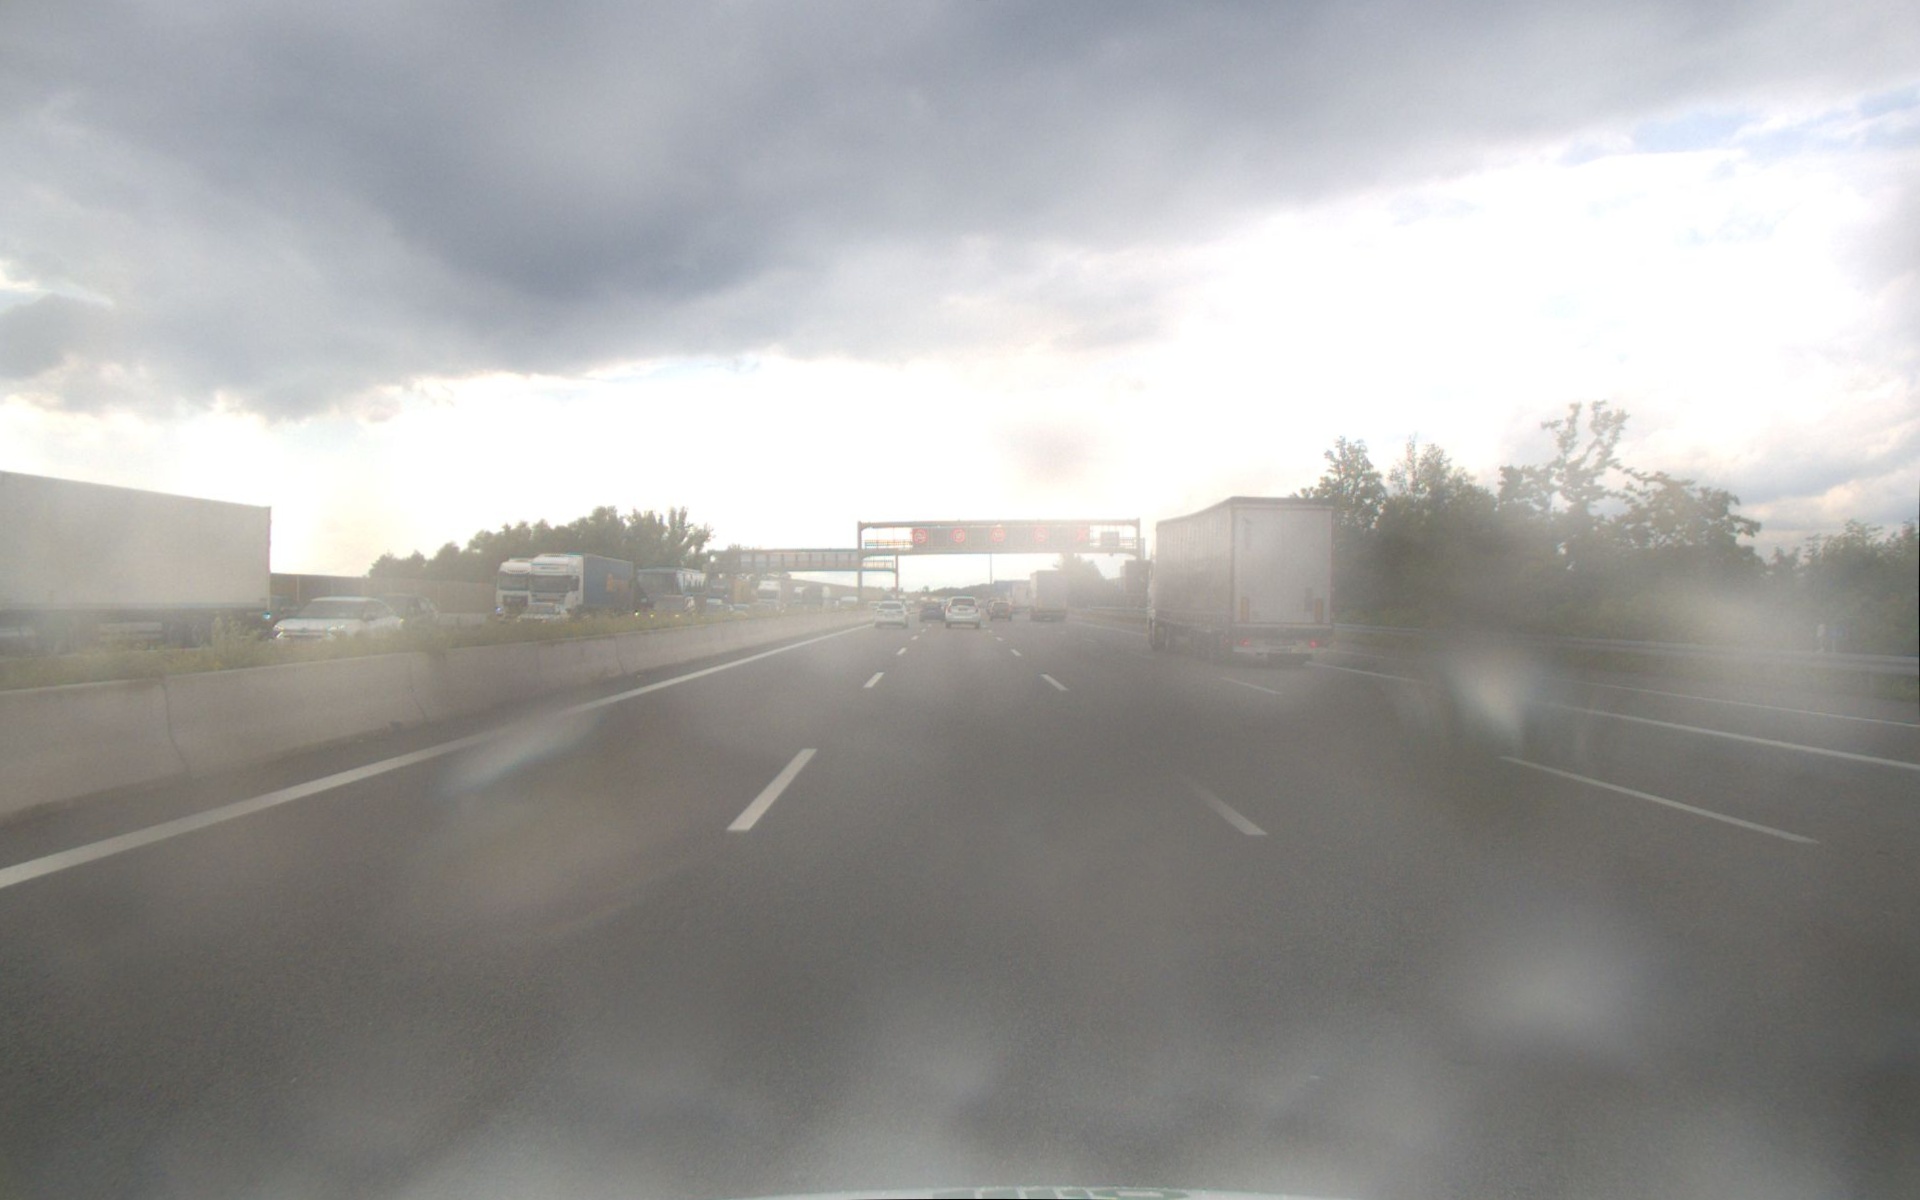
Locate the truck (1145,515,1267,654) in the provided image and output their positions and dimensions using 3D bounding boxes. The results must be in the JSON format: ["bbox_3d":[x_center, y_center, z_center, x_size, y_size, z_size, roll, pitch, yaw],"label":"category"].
[{"bbox_3d":[7.678,-0.476,52.375,2.900,4.090,6.589,1,0,0],"label":"truck"}]

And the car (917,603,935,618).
[{"bbox_3d":[-3.441,1.097,167.157,1.737,1.466,4.053,1,0,-2],"label":"car"}]

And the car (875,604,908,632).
[{"bbox_3d":[-3.697,0.951,89.991,1.736,1.466,3.873,1,0,-1],"label":"car"}]

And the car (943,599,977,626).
[{"bbox_3d":[-0.015,0.682,92.725,1.736,1.466,4.054,1,0,-2],"label":"car"}]

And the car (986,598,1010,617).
[{"bbox_3d":[3.073,0.613,133.318,1.798,1.466,4.055,1,0,0],"label":"car"}]

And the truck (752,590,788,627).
[{"bbox_3d":[-21.231,0.911,185.372,2.826,4.031,7.538,1,0,2],"label":"truck"}]

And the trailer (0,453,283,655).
[{"bbox_3d":[-21.382,-0.968,40.986,3.585,4.180,13.398,1,0,0],"label":"trailer"}]

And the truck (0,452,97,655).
[{"bbox_3d":[-21.350,-0.982,34.112,3.585,4.118,6.524,1,0,0],"label":"truck"}]

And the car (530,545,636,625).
[{"bbox_3d":[-21.379,-0.770,94.856,2.922,4.196,14.392,1,0,-1],"label":"car"}]

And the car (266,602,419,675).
[{"bbox_3d":[-13.575,0.801,36.644,1.751,1.479,4.563,1,0,-2],"label":"car"}]

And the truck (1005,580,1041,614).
[{"bbox_3d":[8.236,-0.342,218.097,4.157,4.249,11.988,1,0,0],"label":"truck"}]

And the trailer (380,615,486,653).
[{"bbox_3d":[-17.157,1.087,54.096,2.050,1.089,4.758,1,0,-2],"label":"trailer"}]

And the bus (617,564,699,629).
[{"bbox_3d":[-18.422,-0.199,101.779,2.831,3.674,12.756,1,0,-1],"label":"bus"}]

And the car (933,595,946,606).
[{"bbox_3d":[-2.863,0.091,231.513,1.736,1.466,4.055,1,0,0],"label":"car"}]

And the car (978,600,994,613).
[{"bbox_3d":[2.912,0.697,187.226,1.798,1.466,4.055,1,0,0],"label":"car"}]

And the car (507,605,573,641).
[{"bbox_3d":[-18.271,0.980,72.205,1.751,1.480,4.564,1,0,-1],"label":"car"}]

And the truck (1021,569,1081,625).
[{"bbox_3d":[7.514,-0.201,138.209,4.095,4.363,12.610,1,0,-1],"label":"truck"}]

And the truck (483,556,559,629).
[{"bbox_3d":[-26.498,-0.443,100.102,2.841,4.188,6.621,1,0,-1],"label":"truck"}]

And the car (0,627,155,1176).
[{"bbox_3d":[-3.279,0.783,2.534,1.725,1.393,5.058,1,0,-2],"label":"car"}]

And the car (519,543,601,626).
[{"bbox_3d":[-21.253,-0.781,88.142,2.922,4.222,6.041,1,0,-1],"label":"car"}]

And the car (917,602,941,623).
[{"bbox_3d":[-2.261,0.907,119.926,1.736,1.466,4.054,1,0,-2],"label":"car"}]

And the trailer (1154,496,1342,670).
[{"bbox_3d":[7.652,-0.423,46.251,2.900,4.090,14.118,1,0,0],"label":"trailer"}]

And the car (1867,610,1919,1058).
[{"bbox_3d":[3.897,0.774,4.170,1.418,1.466,3.162,1,0,-2],"label":"car"}]
